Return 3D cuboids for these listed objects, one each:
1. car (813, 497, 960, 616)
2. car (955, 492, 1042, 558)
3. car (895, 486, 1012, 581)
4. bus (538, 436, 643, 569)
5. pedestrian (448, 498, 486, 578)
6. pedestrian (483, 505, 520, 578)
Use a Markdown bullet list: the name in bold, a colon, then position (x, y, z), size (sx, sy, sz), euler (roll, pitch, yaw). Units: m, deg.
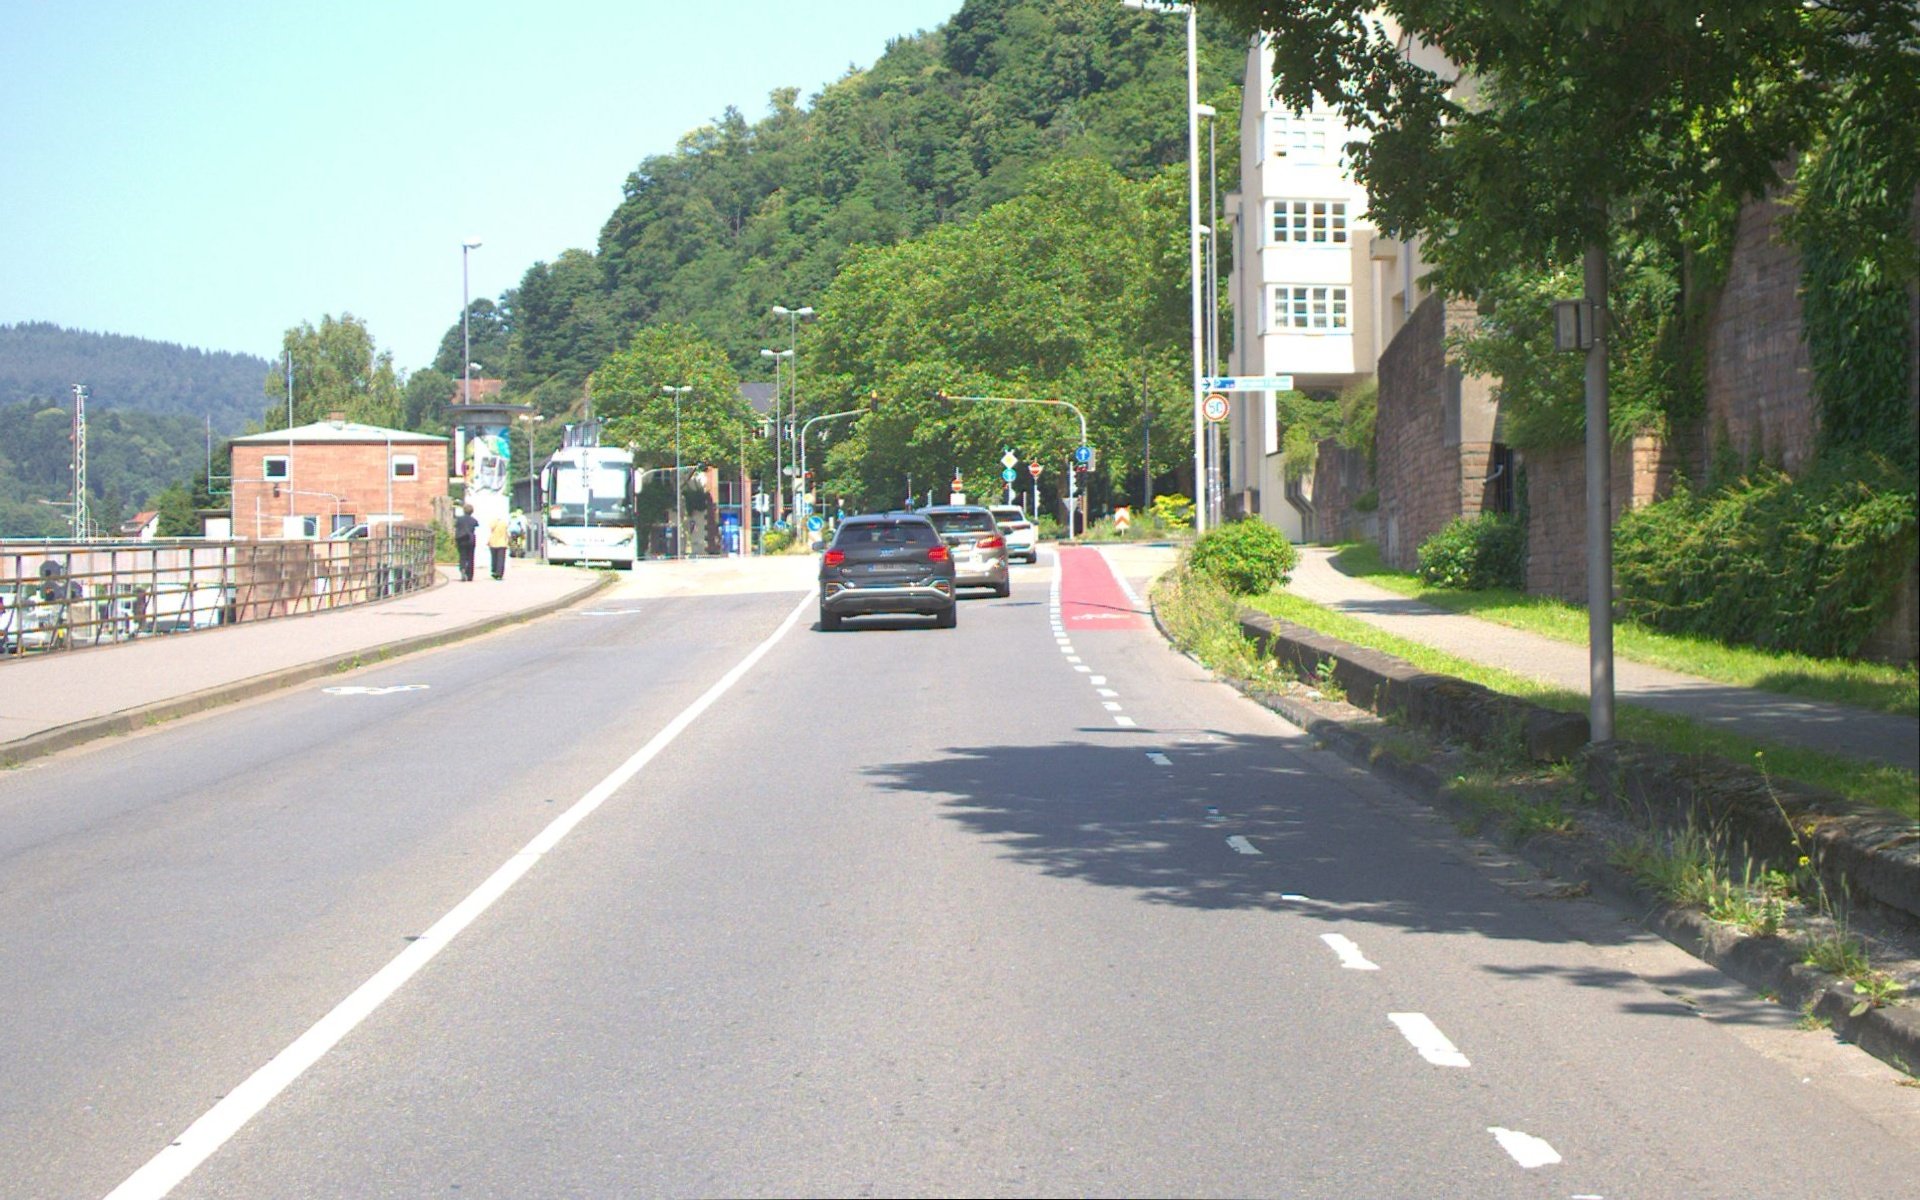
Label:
- **car**: position (-0.949, -0.595, 45.798), size (1.869, 1.508, 4.151), euler (0, 1, 0)
- **car**: position (0.887, -1.793, 82.394), size (1.993, 1.528, 4.859), euler (0, 1, 0)
- **car**: position (-0.124, -1.111, 57.587), size (1.888, 1.516, 4.306), euler (0, 1, 0)
- **bus**: position (-11.364, -2.933, 106.245), size (2.956, 3.787, 13.247), euler (-1, 1, -6)
- **pedestrian**: position (-10.638, -1.342, 74.221), size (0.683, 1.703, 0.773), euler (-1, 1, 0)
- **pedestrian**: position (-10.199, -1.304, 76.480), size (0.702, 1.615, 0.817), euler (-1, 1, -2)
